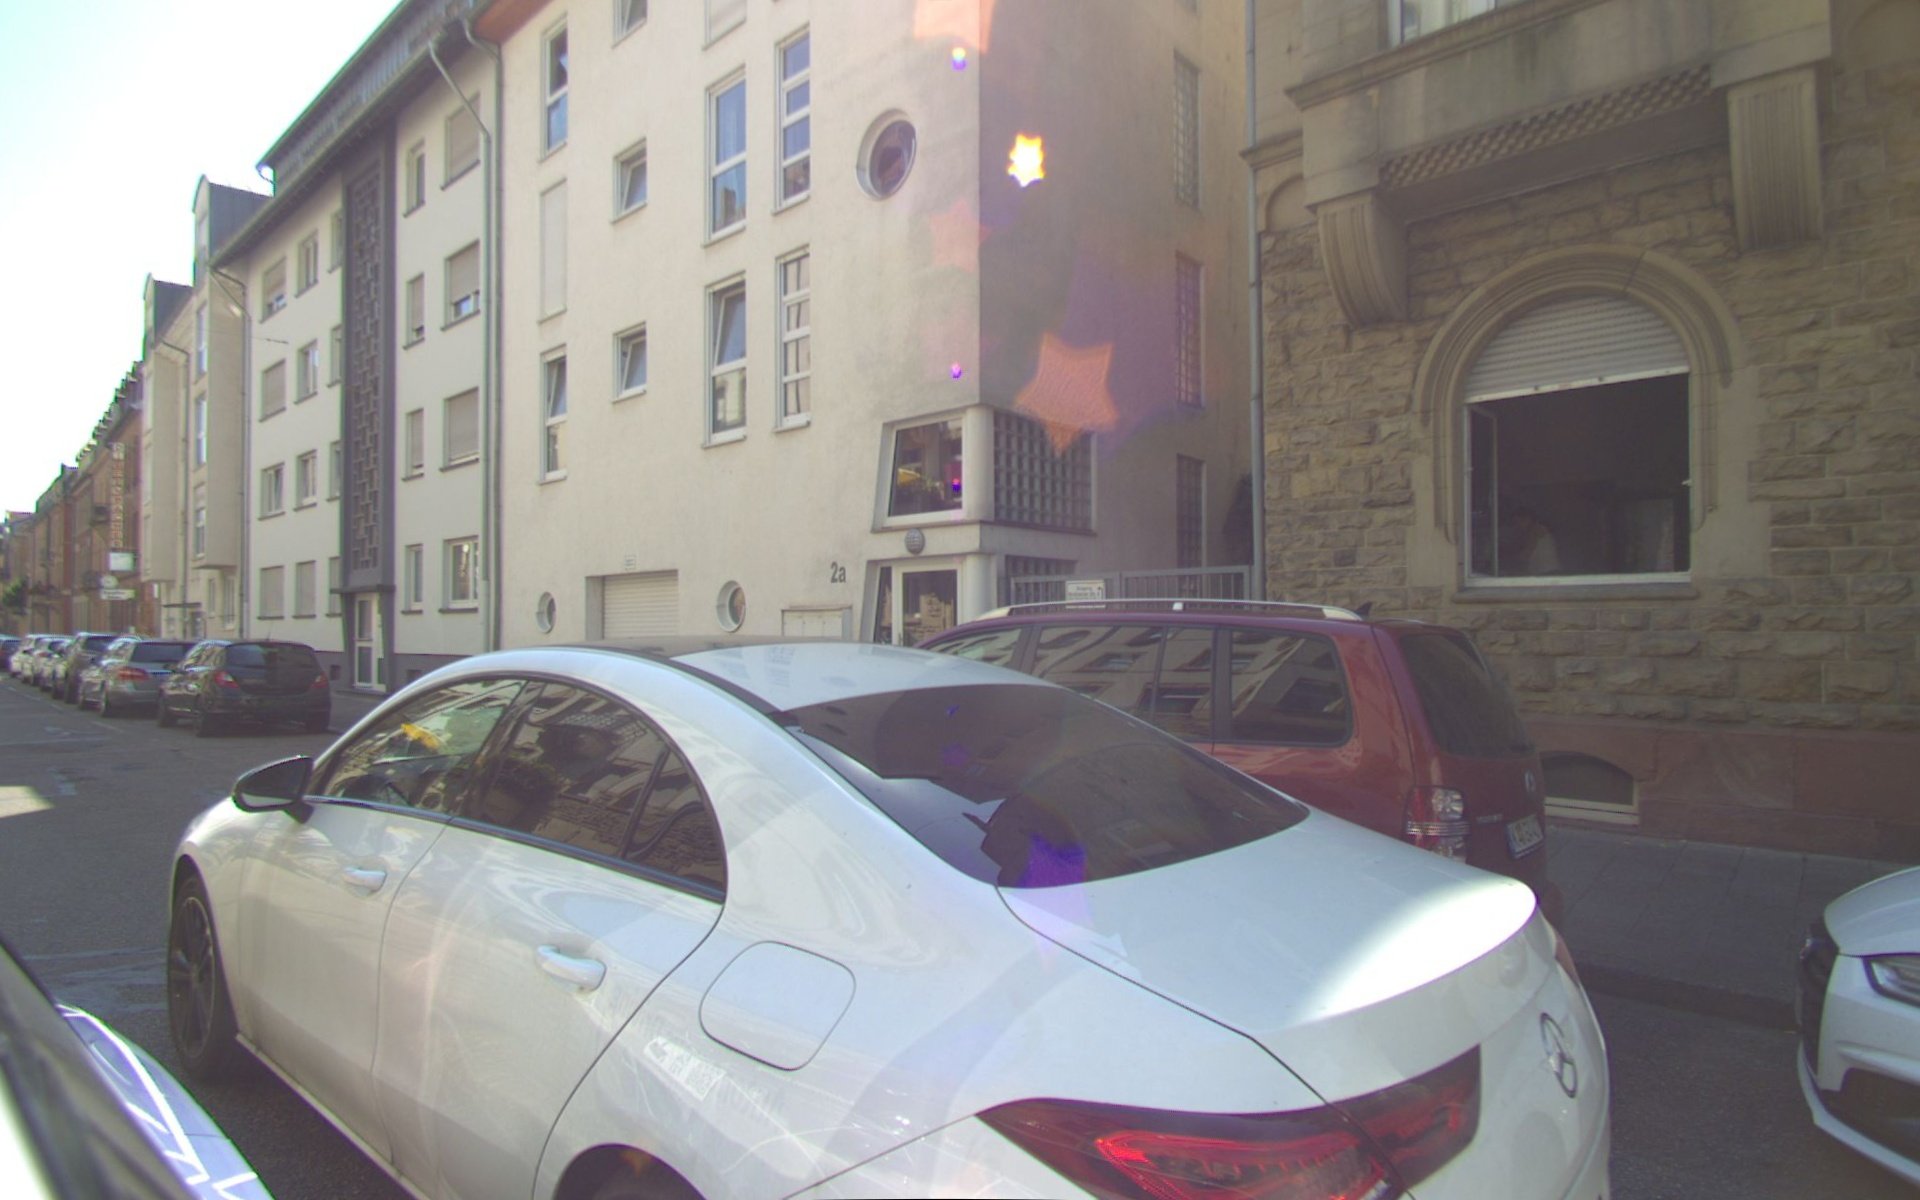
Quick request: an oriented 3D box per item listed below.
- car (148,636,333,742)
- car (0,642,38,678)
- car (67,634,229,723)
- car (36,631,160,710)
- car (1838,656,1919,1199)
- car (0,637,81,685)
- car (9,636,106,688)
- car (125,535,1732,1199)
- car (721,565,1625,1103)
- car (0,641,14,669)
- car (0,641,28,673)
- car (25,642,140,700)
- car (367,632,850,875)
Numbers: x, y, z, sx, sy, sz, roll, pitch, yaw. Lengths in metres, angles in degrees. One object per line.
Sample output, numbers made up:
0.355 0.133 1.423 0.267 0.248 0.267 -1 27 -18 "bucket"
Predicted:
-11.675 1.360 16.325 3.893 1.503 1.550 -2 -5 42 "car"
-41.457 2.559 43.938 3.838 1.440 1.757 -2 -7 44 "car"
-15.859 1.456 19.676 4.670 1.530 1.638 -2 -5 42 "car"
-20.009 1.588 23.438 3.976 1.657 1.586 -2 -5 42 "car"
4.340 0.820 1.494 4.511 1.363 1.684 -1 -4 40 "car"
-33.526 2.197 36.806 3.850 1.561 1.612 -1 -6 40 "car"
-28.492 1.939 31.916 4.347 1.506 1.712 -2 -5 42 "car"
-0.680 0.789 2.802 4.361 1.472 1.822 -2 -5 42 "car"
0.753 0.779 4.993 4.050 1.595 1.655 -1 -4 40 "car"
-51.878 2.893 54.101 3.524 1.484 1.431 -2 -6 41 "car"
-45.234 2.649 47.716 3.679 1.440 1.610 -2 -7 44 "car"
-23.652 1.864 27.236 4.347 1.404 1.746 -2 -5 42 "car"
-3.030 1.035 8.269 4.276 1.471 1.758 -1 -4 40 "car"
